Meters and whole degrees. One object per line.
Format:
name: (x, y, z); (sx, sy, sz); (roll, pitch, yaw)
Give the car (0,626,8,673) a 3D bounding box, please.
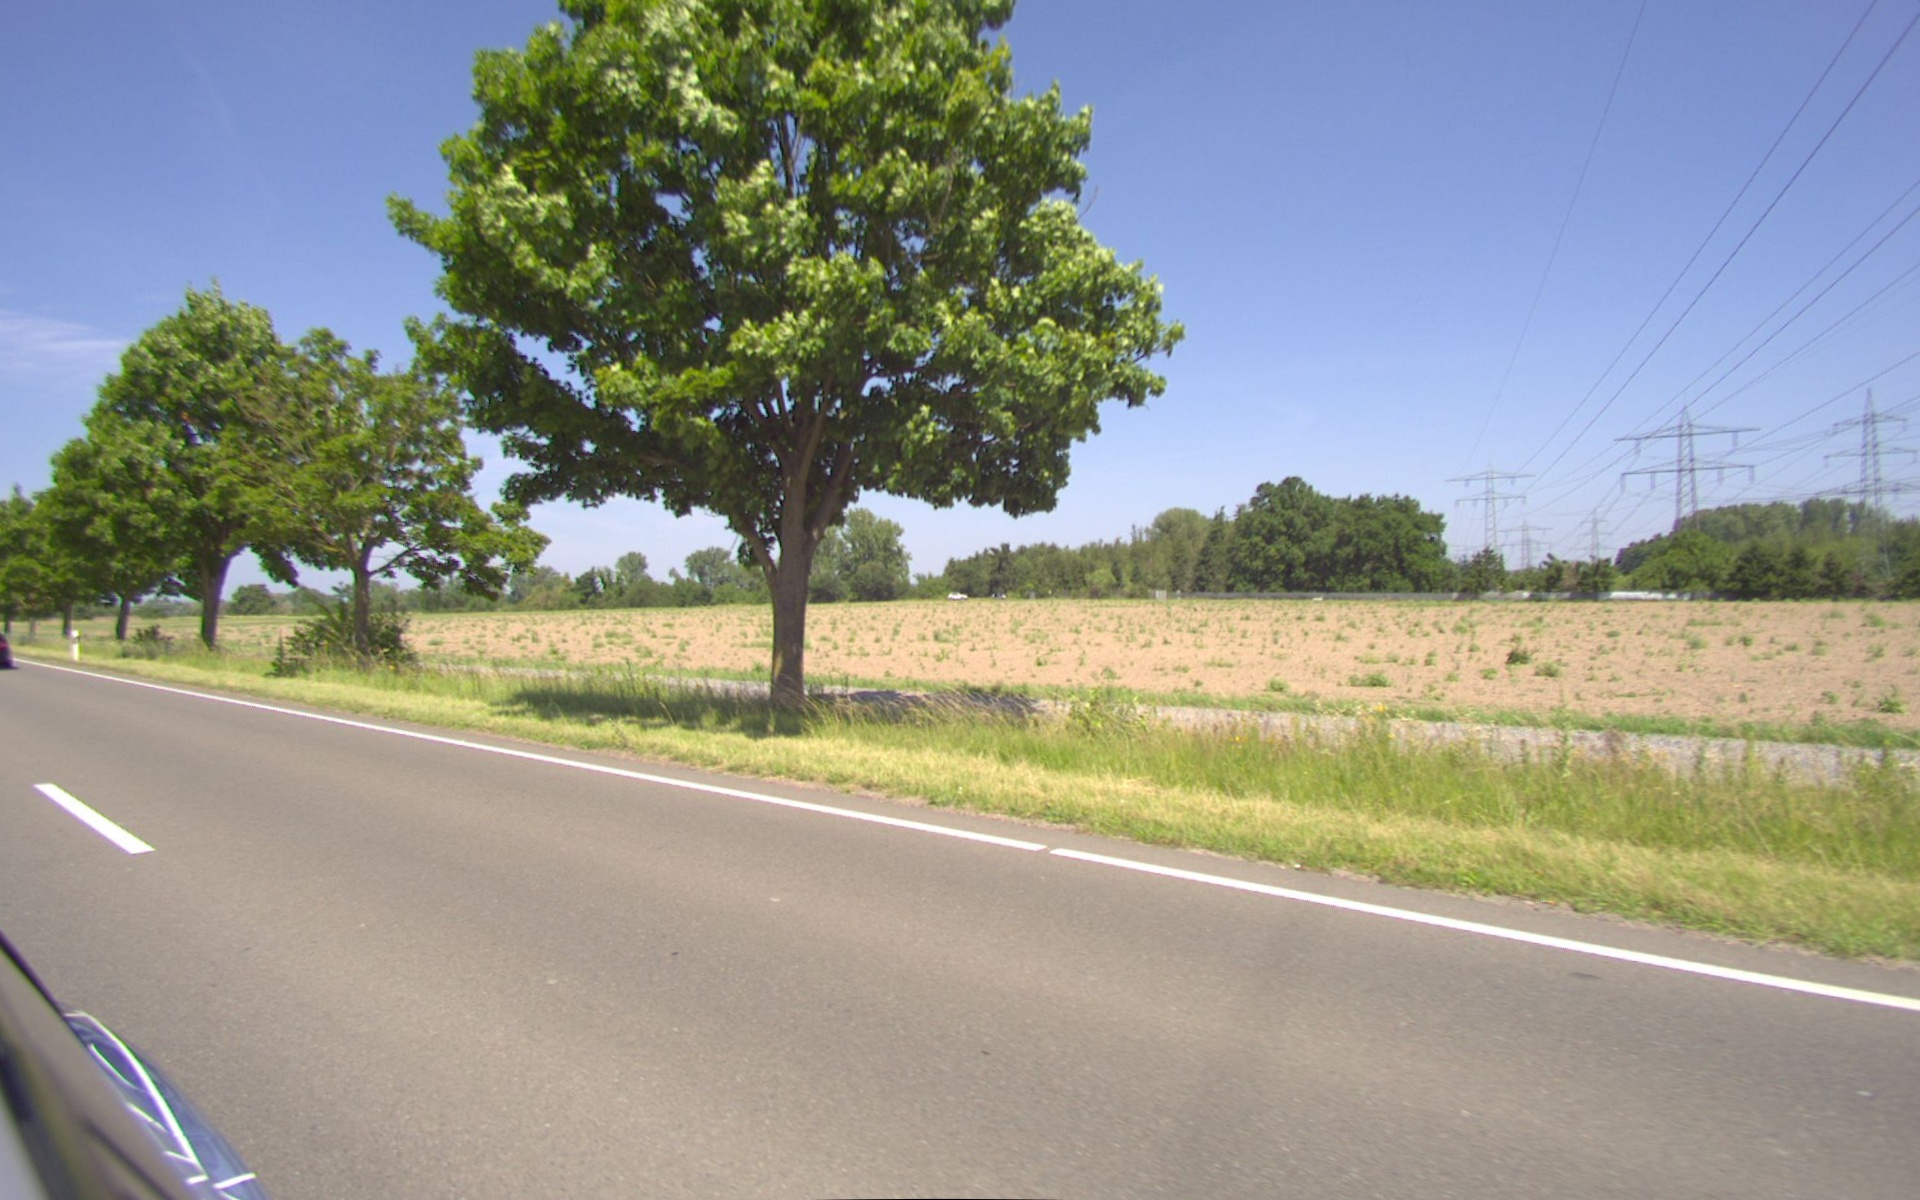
car: (-29.831, 1.471, 30.239); (3.999, 1.342, 1.687); (-1, 0, 42)
